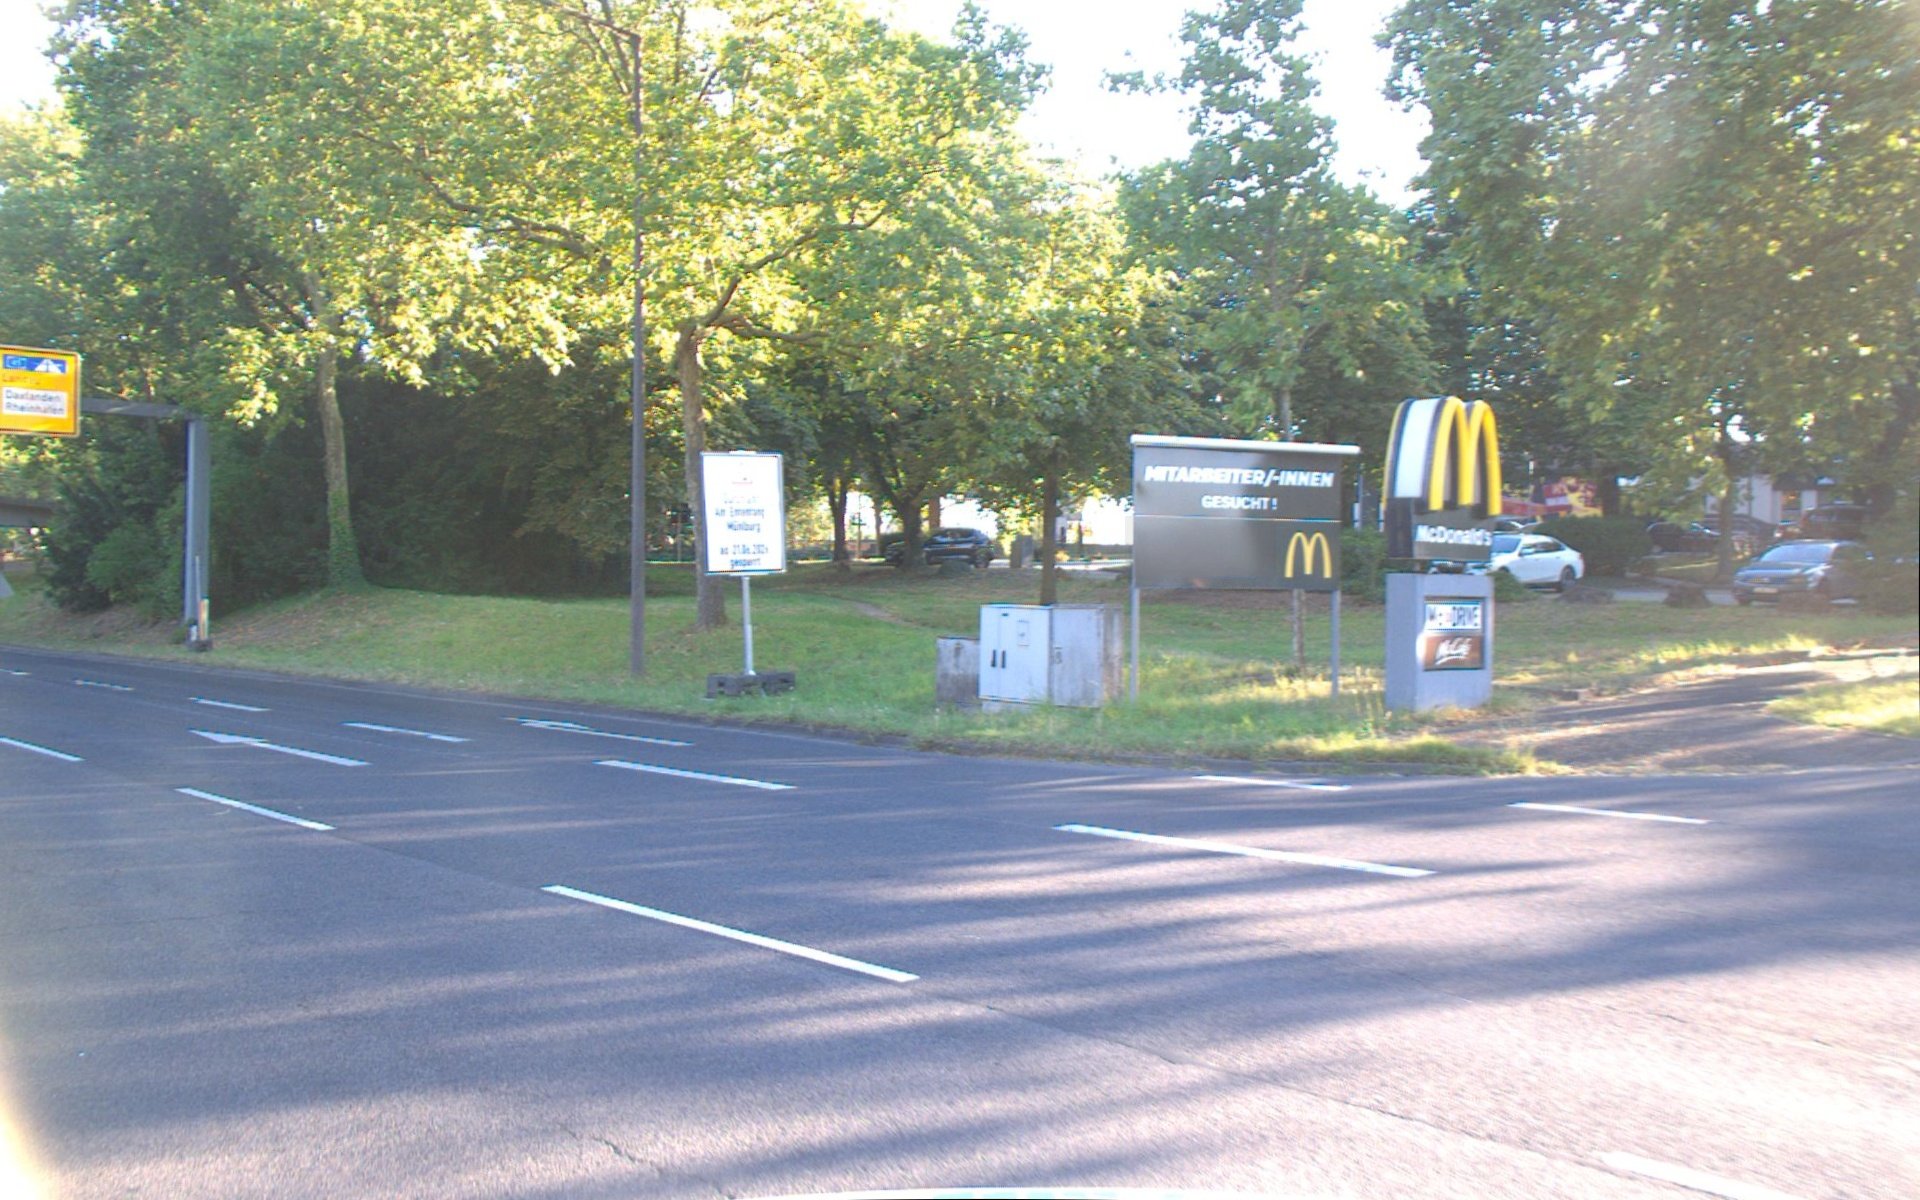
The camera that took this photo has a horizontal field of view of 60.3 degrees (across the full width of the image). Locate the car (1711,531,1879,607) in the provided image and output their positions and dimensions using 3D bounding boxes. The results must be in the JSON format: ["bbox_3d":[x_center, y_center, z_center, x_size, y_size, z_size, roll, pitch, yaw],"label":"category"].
[{"bbox_3d":[18.849,-0.717,37.242,4.366,1.601,2.012,-2,2,-43],"label":"car"}]

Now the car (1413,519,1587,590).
[{"bbox_3d":[14.035,-1.190,42.857,4.849,1.736,1.973,-2,2,-38],"label":"car"}]

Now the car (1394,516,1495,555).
[{"bbox_3d":[20.996,-2.768,71.659,3.912,1.579,1.804,0,1,30],"label":"car"}]

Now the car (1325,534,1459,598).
[{"bbox_3d":[12.075,-0.959,46.063,1.797,1.717,4.197,0,2,44],"label":"car"}]

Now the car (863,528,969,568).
[{"bbox_3d":[-1.781,-2.111,67.166,3.942,1.579,1.791,-1,1,-28],"label":"car"}]

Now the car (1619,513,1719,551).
[{"bbox_3d":[31.295,-2.966,73.007,3.911,1.579,1.805,0,1,29],"label":"car"}]

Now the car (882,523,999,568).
[{"bbox_3d":[-0.691,-1.982,59.978,3.958,1.579,1.784,-2,1,-38],"label":"car"}]
